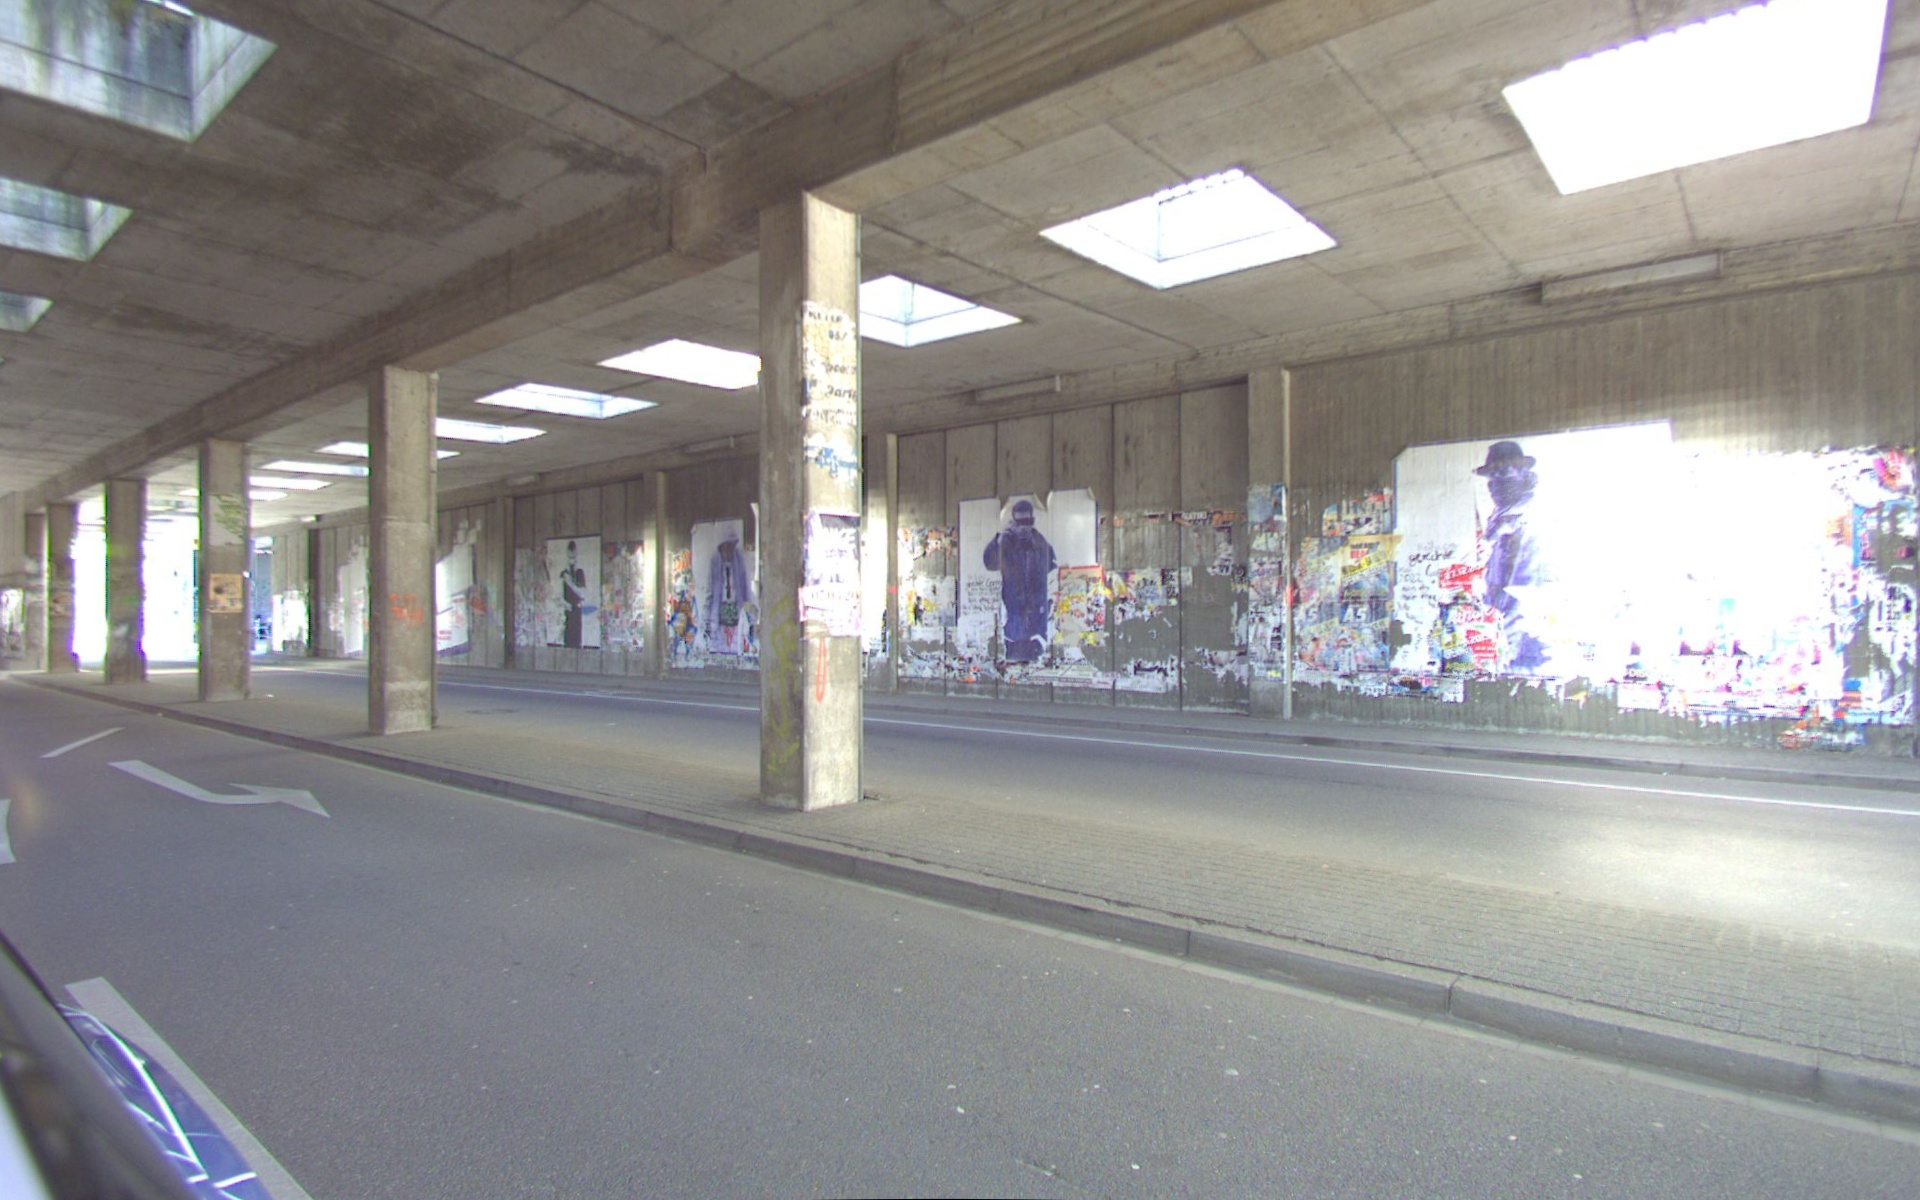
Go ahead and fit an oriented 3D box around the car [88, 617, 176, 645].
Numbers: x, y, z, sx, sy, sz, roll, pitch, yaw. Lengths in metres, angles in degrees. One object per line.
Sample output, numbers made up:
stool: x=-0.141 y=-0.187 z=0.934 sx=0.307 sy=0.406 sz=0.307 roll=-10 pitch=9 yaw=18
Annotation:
car: x=-51.980 y=1.917 z=63.596 sx=1.998 sy=1.719 sz=3.947 roll=-1 pitch=-2 yaw=39
